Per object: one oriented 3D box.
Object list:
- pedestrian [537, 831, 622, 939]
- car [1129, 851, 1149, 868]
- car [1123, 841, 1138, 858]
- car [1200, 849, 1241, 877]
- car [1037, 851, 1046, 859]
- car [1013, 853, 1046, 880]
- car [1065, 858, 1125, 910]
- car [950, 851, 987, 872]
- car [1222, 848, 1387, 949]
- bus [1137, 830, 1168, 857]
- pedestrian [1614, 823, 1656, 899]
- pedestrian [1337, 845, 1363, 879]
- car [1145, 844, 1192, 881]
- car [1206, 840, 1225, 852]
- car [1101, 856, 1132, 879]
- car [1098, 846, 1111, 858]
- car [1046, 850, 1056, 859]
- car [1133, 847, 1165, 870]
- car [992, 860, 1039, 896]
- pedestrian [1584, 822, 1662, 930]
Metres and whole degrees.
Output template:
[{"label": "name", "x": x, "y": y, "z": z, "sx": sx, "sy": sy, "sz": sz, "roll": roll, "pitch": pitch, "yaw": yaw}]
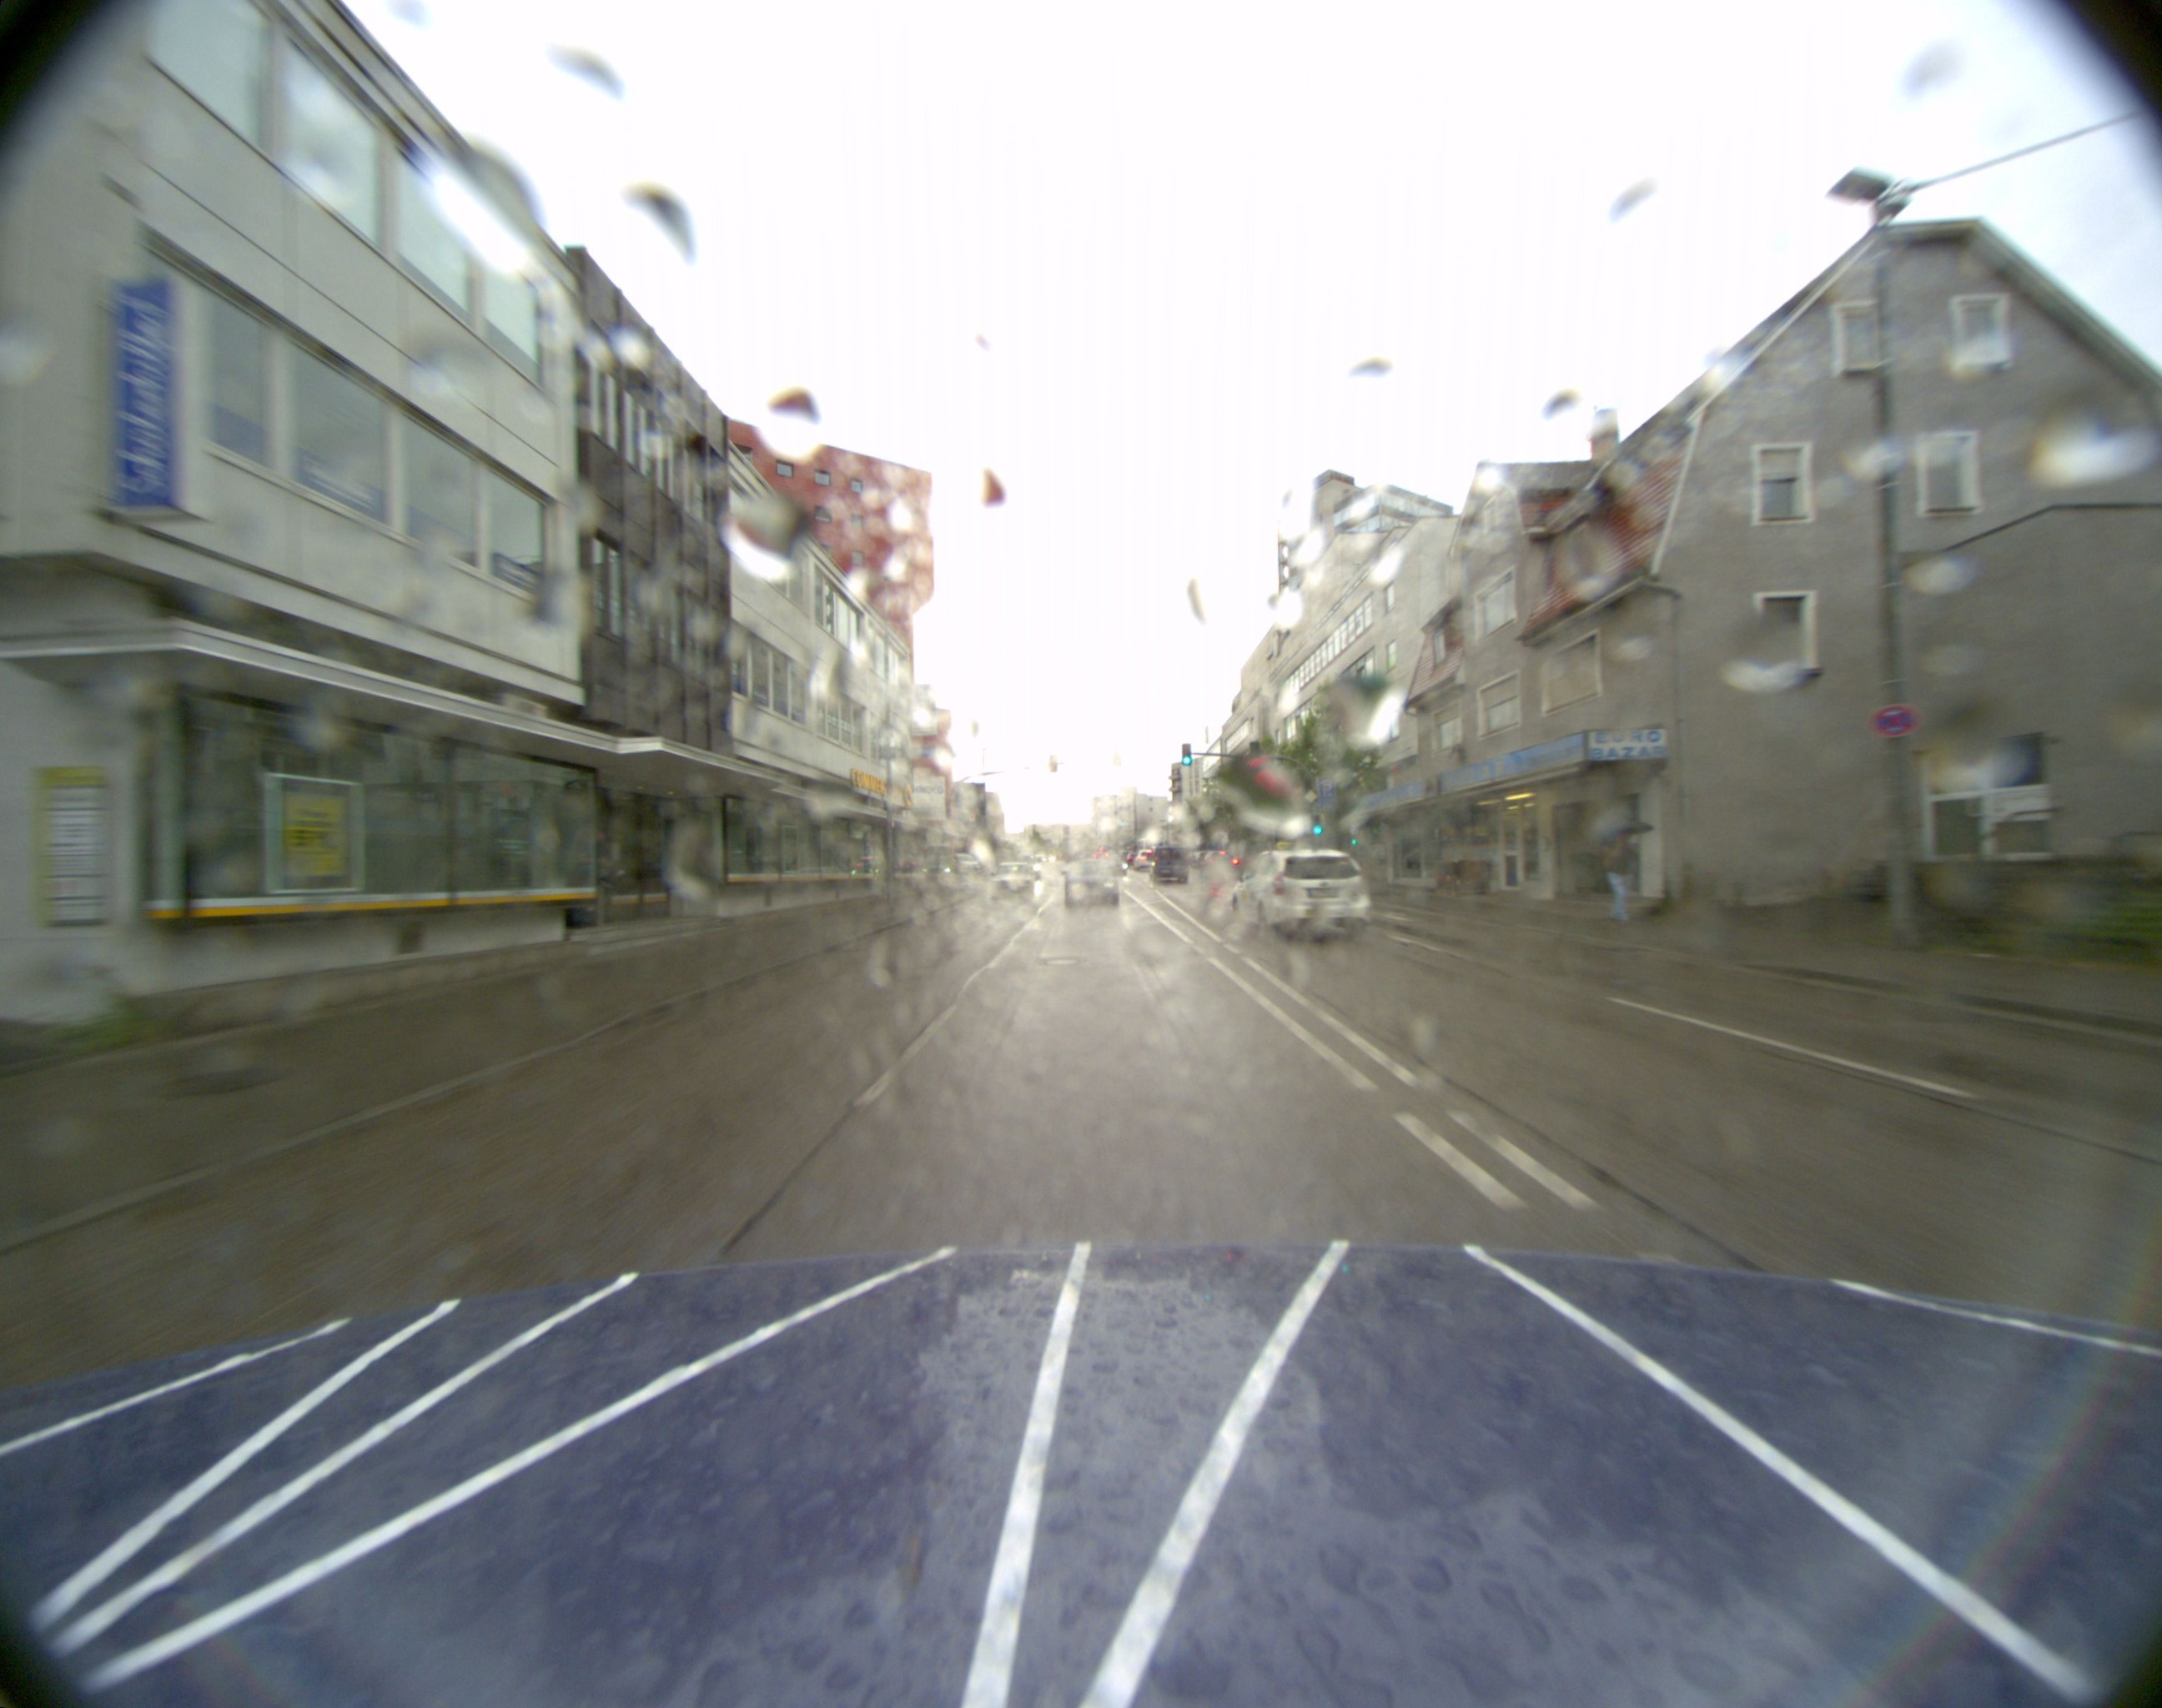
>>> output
[{"label": "pedestrian", "x": -8.530, "y": 0.517, "z": 12.952, "sx": 0.730, "sy": 1.770, "sz": 0.953, "roll": -2, "pitch": -1, "yaw": 9}, {"label": "car", "x": 5.490, "y": 0.503, "z": 72.761, "sx": 1.762, "sy": 1.426, "sz": 4.380, "roll": -1, "pitch": 1, "yaw": 2}, {"label": "car", "x": 5.896, "y": -0.554, "z": 90.604, "sx": 1.637, "sy": 2.002, "sz": 4.284, "roll": -1, "pitch": 1, "yaw": 2}, {"label": "car", "x": 8.682, "y": 0.509, "z": 47.584, "sx": 2.005, "sy": 1.608, "sz": 4.949, "roll": -1, "pitch": 1, "yaw": 4}, {"label": "car", "x": -6.435, "y": 0.180, "z": 123.491, "sx": 1.394, "sy": 1.316, "sz": 2.861, "roll": -1, "pitch": 1, "yaw": -1}, {"label": "car", "x": -3.421, "y": 0.804, "z": 50.767, "sx": 2.058, "sy": 1.638, "sz": 4.478, "roll": -1, "pitch": 1, "yaw": -2}, {"label": "car", "x": 0.371, "y": 0.899, "z": 24.109, "sx": 1.688, "sy": 1.373, "sz": 3.792, "roll": -2, "pitch": 1, "yaw": -1}, {"label": "car", "x": -8.298, "y": 0.523, "z": 55.821, "sx": 1.618, "sy": 1.453, "sz": 3.416, "roll": -1, "pitch": 1, "yaw": -28}, {"label": "car", "x": 4.121, "y": 0.708, "z": 14.881, "sx": 1.883, "sy": 1.600, "sz": 4.718, "roll": -1, "pitch": 1, "yaw": 1}, {"label": "bus", "x": 8.755, "y": -1.298, "z": 94.322, "sx": 2.899, "sy": 3.081, "sz": 11.997, "roll": -1, "pitch": 1, "yaw": 1}, {"label": "pedestrian", "x": 11.385, "y": 0.139, "z": 15.634, "sx": 0.544, "sy": 1.548, "sz": 0.446, "roll": -1, "pitch": 1, "yaw": 1}, {"label": "pedestrian", "x": 14.427, "y": 0.432, "z": 40.774, "sx": 0.927, "sy": 1.778, "sz": 1.233, "roll": -1, "pitch": 1, "yaw": -1}, {"label": "car", "x": 4.874, "y": 0.406, "z": 42.935, "sx": 1.971, "sy": 1.927, "sz": 5.178, "roll": -1, "pitch": 1, "yaw": -1}, {"label": "car", "x": 17.000, "y": -1.028, "z": 96.013, "sx": 1.757, "sy": 1.402, "sz": 3.730, "roll": -1, "pitch": 1, "yaw": 1}, {"label": "car", "x": 2.457, "y": 0.893, "z": 53.007, "sx": 1.720, "sy": 1.442, "sz": 4.196, "roll": -1, "pitch": 1, "yaw": -3}, {"label": "car", "x": 3.040, "y": -0.233, "z": 98.882, "sx": 1.711, "sy": 1.508, "sz": 4.391, "roll": -1, "pitch": 1, "yaw": 1}, {"label": "car", "x": -5.568, "y": 0.074, "z": 141.205, "sx": 1.609, "sy": 1.452, "sz": 3.362, "roll": -1, "pitch": 1, "yaw": 1}, {"label": "car", "x": 5.540, "y": 0.336, "z": 62.420, "sx": 2.104, "sy": 1.702, "sz": 4.848, "roll": -1, "pitch": 1, "yaw": -1}, {"label": "car", "x": -2.686, "y": 0.963, "z": 31.825, "sx": 1.662, "sy": 1.300, "sz": 3.993, "roll": -1, "pitch": 1, "yaw": -1}, {"label": "pedestrian", "x": 10.071, "y": 0.395, "z": 14.143, "sx": 0.663, "sy": 1.910, "sz": 0.946, "roll": -3, "pitch": 1, "yaw": -7}]
